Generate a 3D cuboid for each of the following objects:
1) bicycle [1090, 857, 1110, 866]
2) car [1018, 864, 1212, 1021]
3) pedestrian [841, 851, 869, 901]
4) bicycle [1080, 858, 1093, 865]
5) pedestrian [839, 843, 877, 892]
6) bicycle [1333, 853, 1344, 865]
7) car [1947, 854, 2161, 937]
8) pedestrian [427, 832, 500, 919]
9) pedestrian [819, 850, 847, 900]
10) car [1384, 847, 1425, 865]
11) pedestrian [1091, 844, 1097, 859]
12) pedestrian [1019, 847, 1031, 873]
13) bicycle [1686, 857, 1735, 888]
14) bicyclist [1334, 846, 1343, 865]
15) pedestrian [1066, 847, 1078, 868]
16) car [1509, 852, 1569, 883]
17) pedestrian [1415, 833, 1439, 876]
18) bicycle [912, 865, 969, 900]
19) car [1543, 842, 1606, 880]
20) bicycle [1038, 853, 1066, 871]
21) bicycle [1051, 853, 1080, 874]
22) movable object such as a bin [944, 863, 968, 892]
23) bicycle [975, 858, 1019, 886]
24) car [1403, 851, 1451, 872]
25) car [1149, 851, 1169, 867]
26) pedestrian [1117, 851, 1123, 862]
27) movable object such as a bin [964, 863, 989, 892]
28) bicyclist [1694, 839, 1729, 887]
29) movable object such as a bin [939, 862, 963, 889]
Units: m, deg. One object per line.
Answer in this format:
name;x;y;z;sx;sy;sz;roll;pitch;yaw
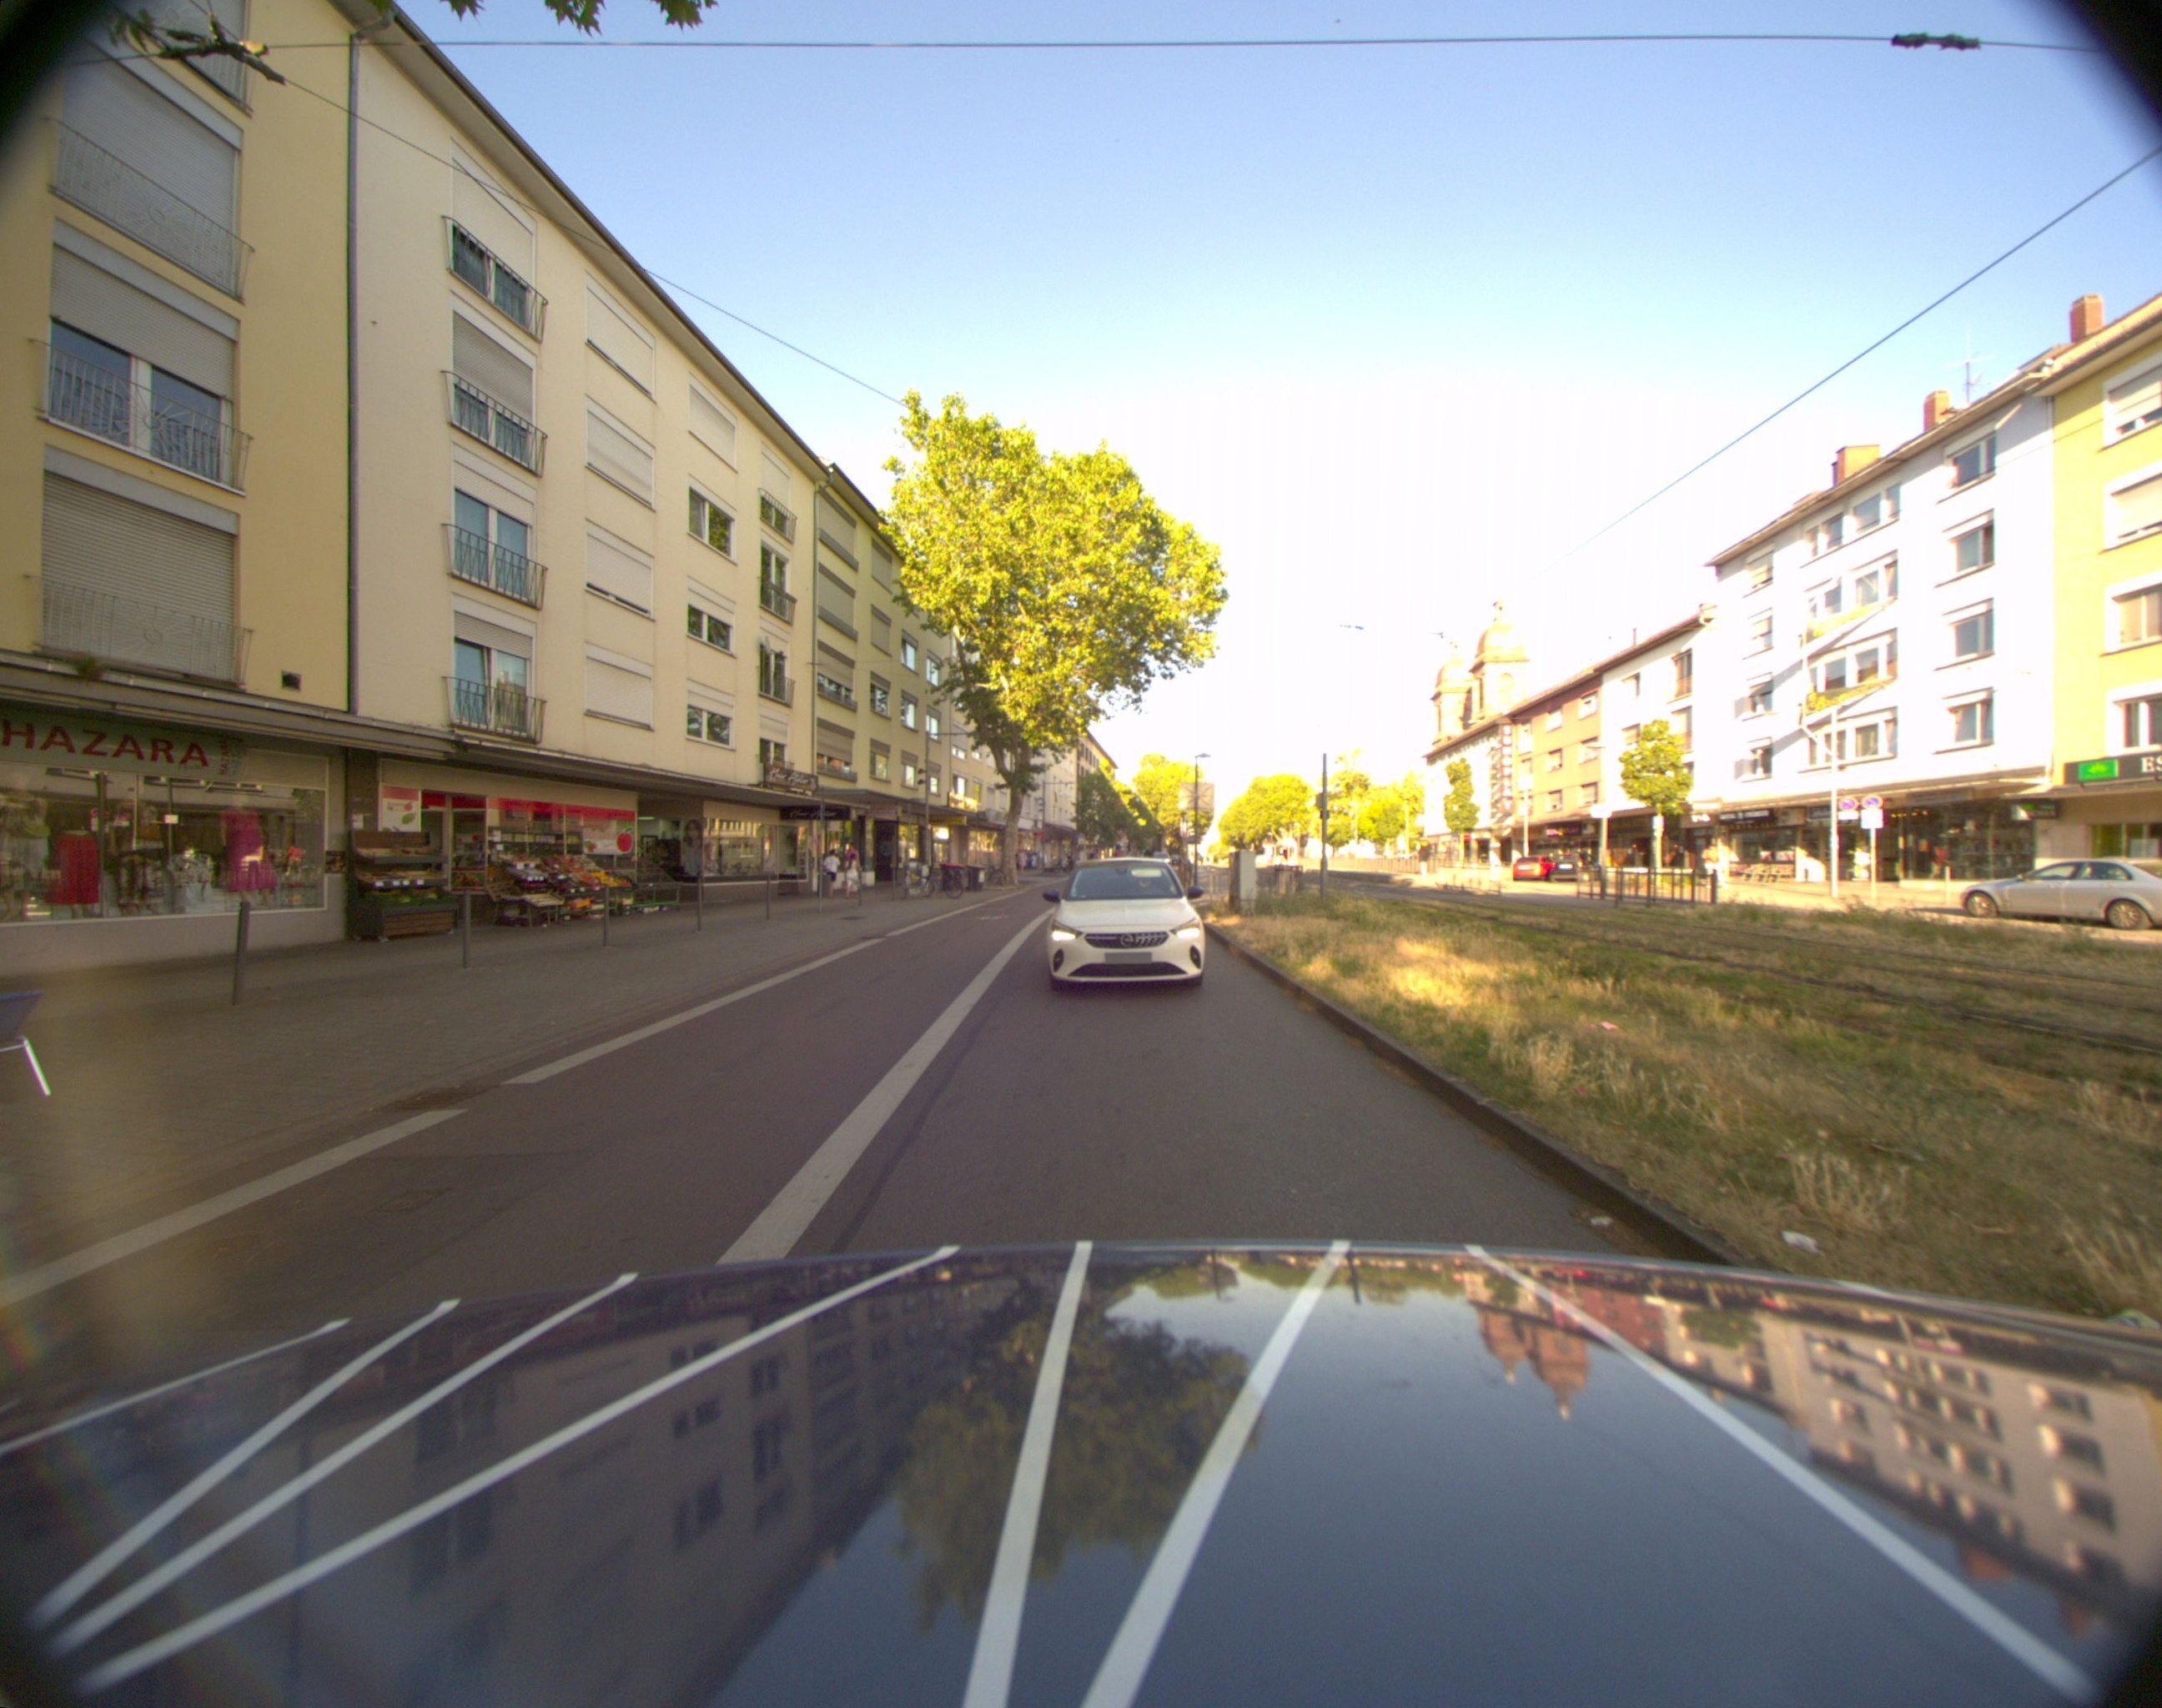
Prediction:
bicycle;1.815;0.711;72.925;1.762;0.773;0.702;1;0;-14
car;0.403;0.880;9.210;1.826;1.433;3.828;-1;0;2
pedestrian;-7.351;0.699;24.743;0.636;1.577;0.627;2;1;7
bicycle;0.562;0.714;73.133;0.840;0.569;1.758;1;0;-14
pedestrian;-8.367;0.493;28.574;0.969;1.753;1.134;1;2;9
bicycle;27.632;0.519;81.513;0.719;1.223;2.279;1;0;7
car;21.790;0.796;16.127;1.998;1.469;4.412;-2;0;5
pedestrian;-12.775;0.430;15.748;0.685;1.733;0.880;-2;1;5
pedestrian;-8.037;0.678;24.616;0.623;1.577;0.627;2;1;7
car;29.814;0.160;70.033;4.007;1.477;1.739;-2;1;-39
pedestrian;1.353;-0.220;80.762;0.490;1.559;0.649;2;1;10
pedestrian;-3.462;0.367;47.140;0.547;1.619;0.896;2;0;9
bicycle;25.388;0.727;30.702;0.706;1.152;2.200;-2;1;17
bicyclist;27.615;0.146;81.470;0.765;2.002;0.911;0;1;7
pedestrian;-0.797;0.298;66.400;0.774;1.789;0.931;3;1;10
car;25.589;0.748;42.391;3.777;1.482;1.859;-3;1;-43
pedestrian;15.071;0.029;33.101;0.743;1.838;0.590;0;1;3
bicycle;-4.920;0.990;26.587;1.909;1.098;0.519;2;1;14
car;25.746;0.356;39.573;3.777;1.789;1.859;-3;1;-43
bicycle;-2.001;0.574;52.680;1.794;1.118;0.663;4;1;-19
bicycle;-1.060;0.618;51.630;1.788;1.304;0.695;4;1;20
movable object such as a bin;-5.005;0.940;30.445;0.723;1.066;0.644;5;2;6
bicycle;-3.623;0.773;32.873;1.721;1.111;0.745;0;4;8
car;28.637;0.607;62.912;4.007;1.521;1.865;-2;1;-37
car;7.353;0.477;71.691;1.717;1.390;4.001;-2;0;4
pedestrian;6.280;0.404;121.126;0.851;1.645;0.916;-2;1;8
movable object such as a bin;-4.190;0.921;30.559;0.723;1.096;0.645;4;2;15
bicyclist;25.326;0.367;30.543;0.693;1.876;1.059;-2;1;17
movable object such as a bin;-5.367;0.876;31.351;0.722;1.066;0.645;2;2;27
